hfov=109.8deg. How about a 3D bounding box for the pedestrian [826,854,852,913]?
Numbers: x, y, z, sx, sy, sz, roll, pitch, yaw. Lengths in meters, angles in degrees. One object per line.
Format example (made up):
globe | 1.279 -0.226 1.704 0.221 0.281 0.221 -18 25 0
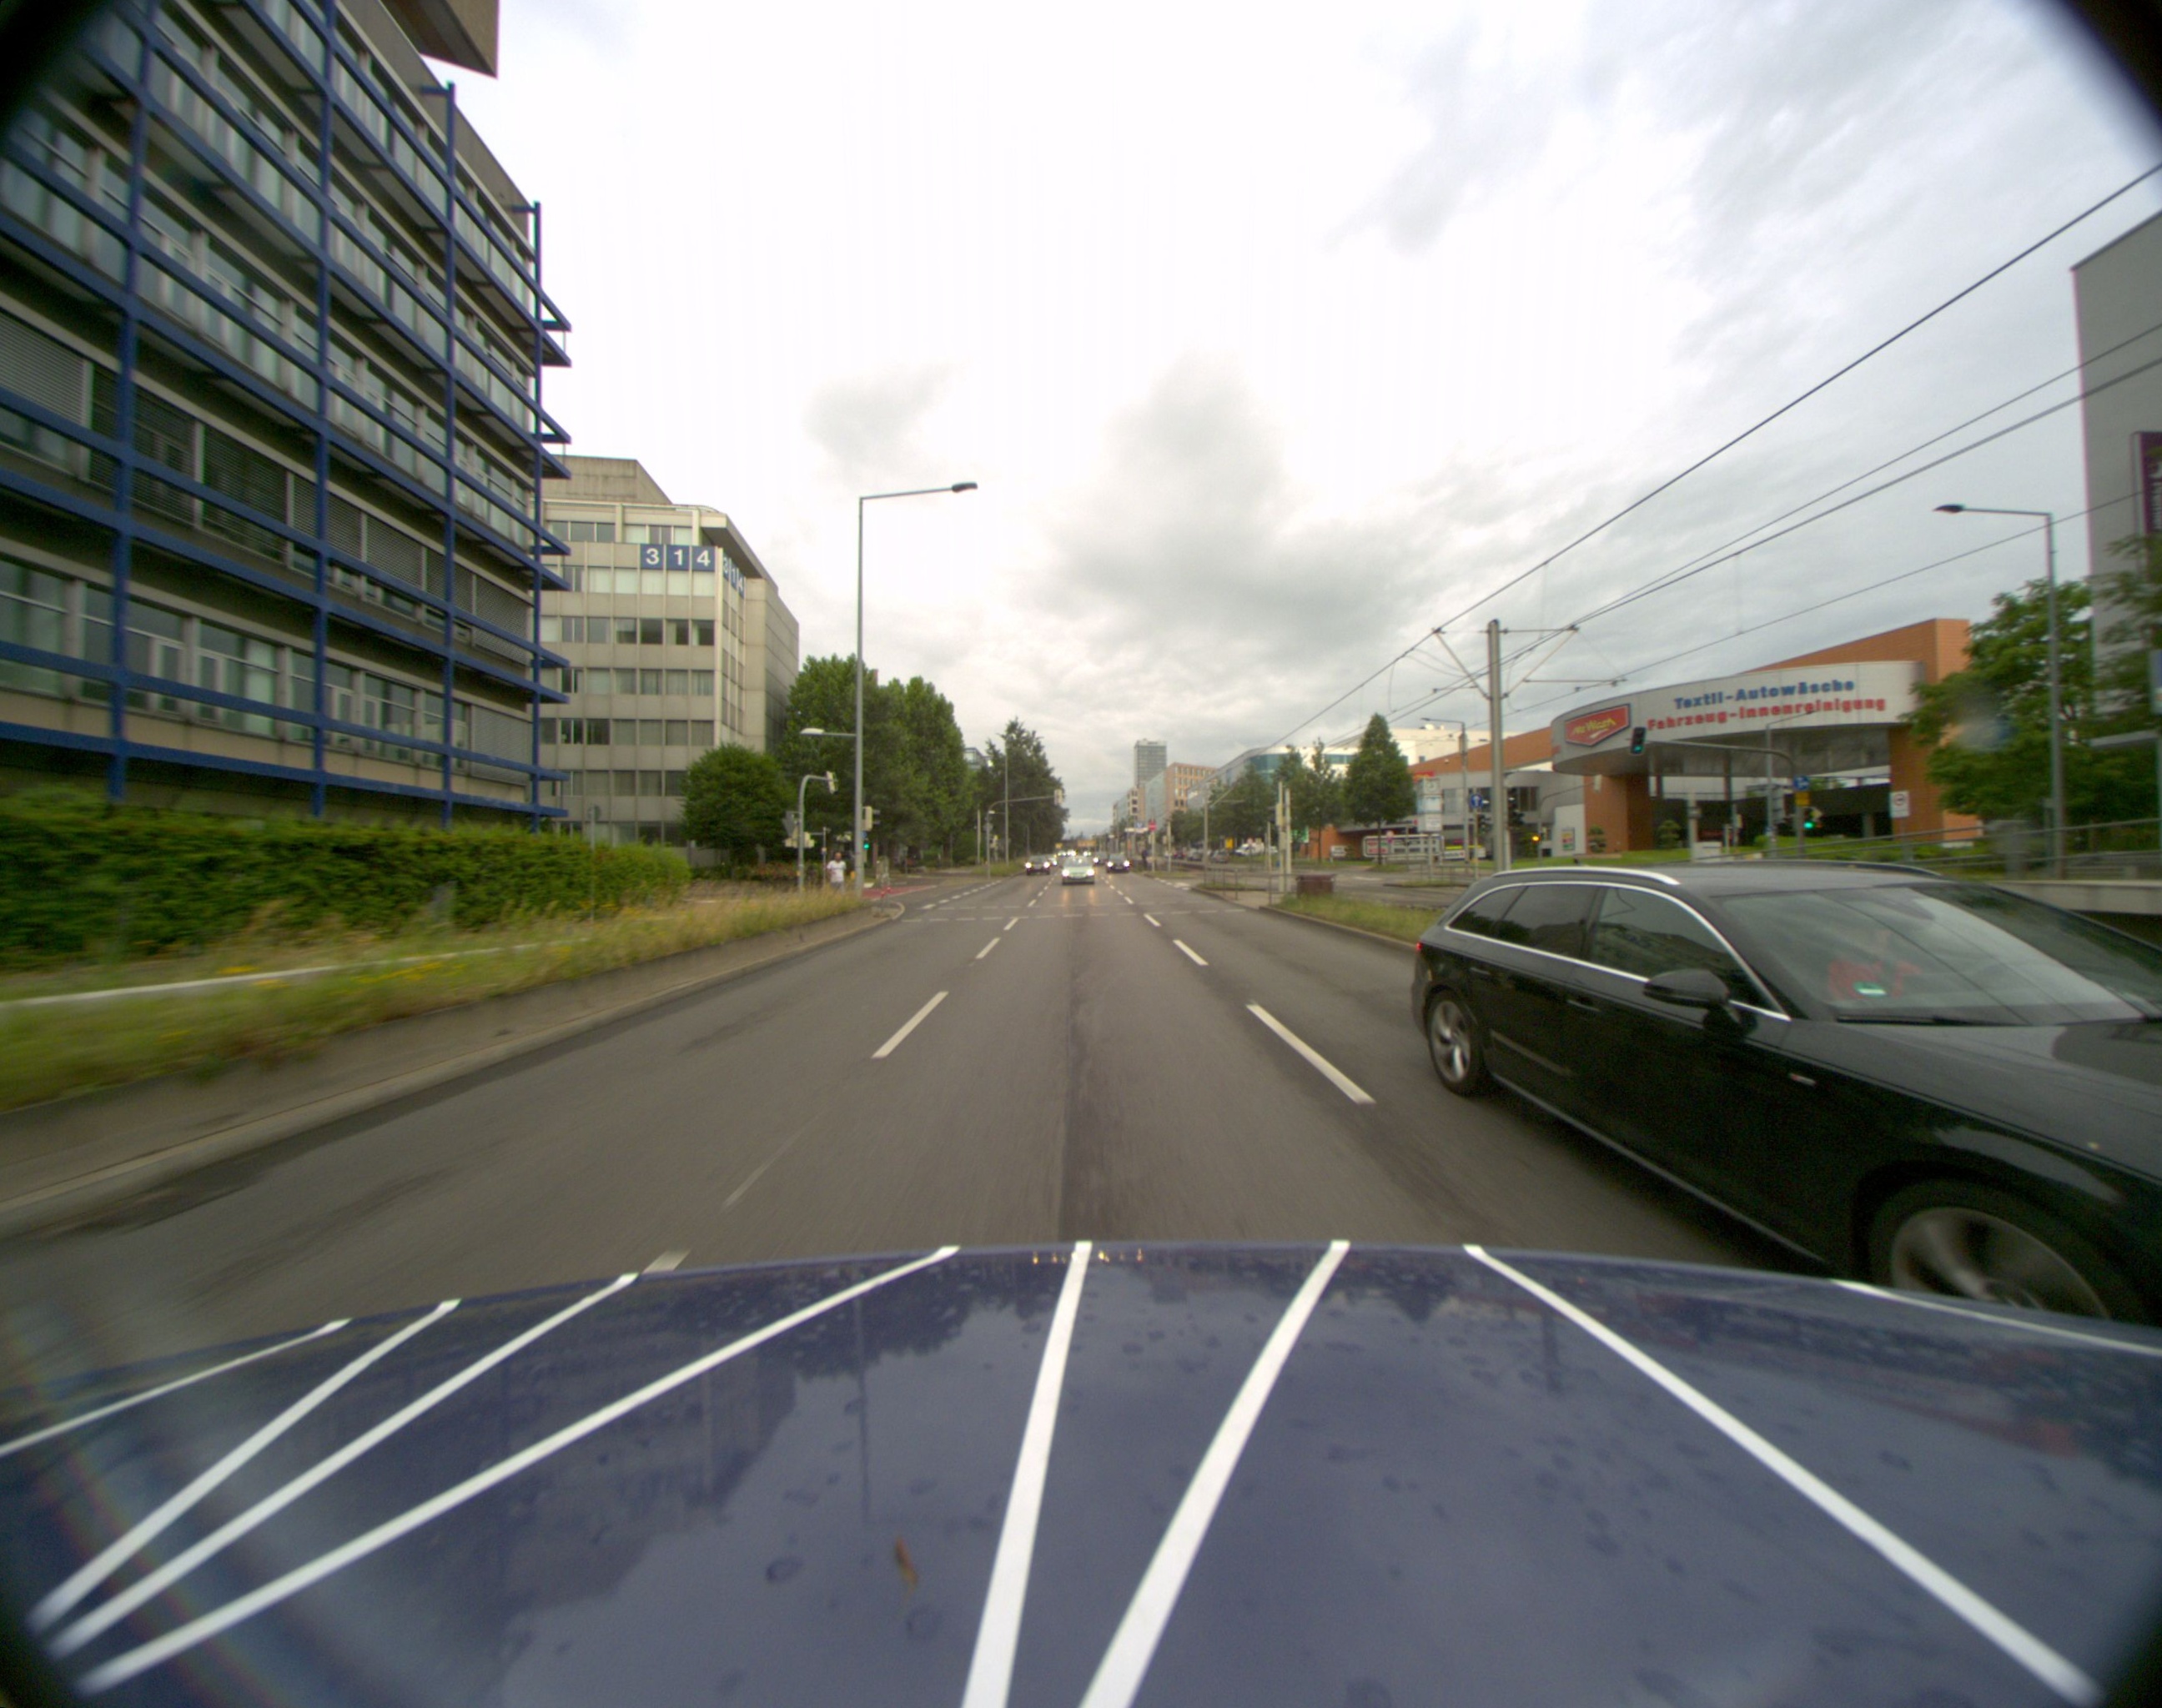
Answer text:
pedestrian | -6.921 0.822 21.734 0.556 1.643 0.831 -1 1 -10

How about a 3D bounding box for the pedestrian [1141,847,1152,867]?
pedestrian | 5.566 0.261 64.455 0.704 1.641 0.648 -2 1 -29

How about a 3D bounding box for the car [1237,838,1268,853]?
car | 33.297 -1.697 147.688 5.488 2.614 2.275 -3 1 -18

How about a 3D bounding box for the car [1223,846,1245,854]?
car | 31.669 -0.746 157.706 4.000 1.499 1.895 -3 1 -9

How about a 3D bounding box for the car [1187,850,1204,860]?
car | 18.414 0.156 122.553 1.858 1.419 4.387 1 0 -2

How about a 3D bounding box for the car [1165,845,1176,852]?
car | 21.068 -1.237 178.818 1.999 1.509 4.705 -2 1 -2

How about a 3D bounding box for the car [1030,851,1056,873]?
car | -3.012 0.632 60.657 1.816 1.660 4.548 -2 0 0

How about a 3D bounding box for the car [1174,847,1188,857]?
car | 18.302 -0.428 139.305 1.999 1.764 4.388 -1 1 0

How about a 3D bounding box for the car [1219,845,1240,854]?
car | 31.712 -1.024 162.532 3.999 1.652 1.921 -3 1 -7

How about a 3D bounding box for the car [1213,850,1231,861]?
car | 19.388 0.178 104.920 1.733 1.415 3.778 -1 1 -1

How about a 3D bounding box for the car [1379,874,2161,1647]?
car | 3.094 0.891 3.108 1.795 1.426 4.828 -2 0 0

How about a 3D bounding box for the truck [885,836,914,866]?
truck | -16.226 -0.275 67.947 1.751 2.503 3.998 -2 1 -4

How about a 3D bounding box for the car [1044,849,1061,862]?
car | -3.514 0.147 94.563 1.873 1.533 4.106 -2 0 0

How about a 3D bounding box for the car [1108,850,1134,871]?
car | 3.077 0.491 59.429 1.798 1.493 4.000 -2 0 0

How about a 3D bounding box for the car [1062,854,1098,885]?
car | -0.067 0.788 41.720 1.804 1.533 4.373 -2 0 0

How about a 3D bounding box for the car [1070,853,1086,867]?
car | -0.389 0.723 89.630 1.781 1.552 3.739 -2 0 0

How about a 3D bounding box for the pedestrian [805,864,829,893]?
pedestrian | -13.992 1.293 40.284 0.901 1.532 0.801 0 1 39

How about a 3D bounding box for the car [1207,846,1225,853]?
car | 31.417 -0.978 176.950 3.845 1.482 1.821 -2 1 -19

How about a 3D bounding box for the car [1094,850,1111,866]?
car | 2.478 0.435 87.766 1.781 1.670 4.130 -2 0 0
